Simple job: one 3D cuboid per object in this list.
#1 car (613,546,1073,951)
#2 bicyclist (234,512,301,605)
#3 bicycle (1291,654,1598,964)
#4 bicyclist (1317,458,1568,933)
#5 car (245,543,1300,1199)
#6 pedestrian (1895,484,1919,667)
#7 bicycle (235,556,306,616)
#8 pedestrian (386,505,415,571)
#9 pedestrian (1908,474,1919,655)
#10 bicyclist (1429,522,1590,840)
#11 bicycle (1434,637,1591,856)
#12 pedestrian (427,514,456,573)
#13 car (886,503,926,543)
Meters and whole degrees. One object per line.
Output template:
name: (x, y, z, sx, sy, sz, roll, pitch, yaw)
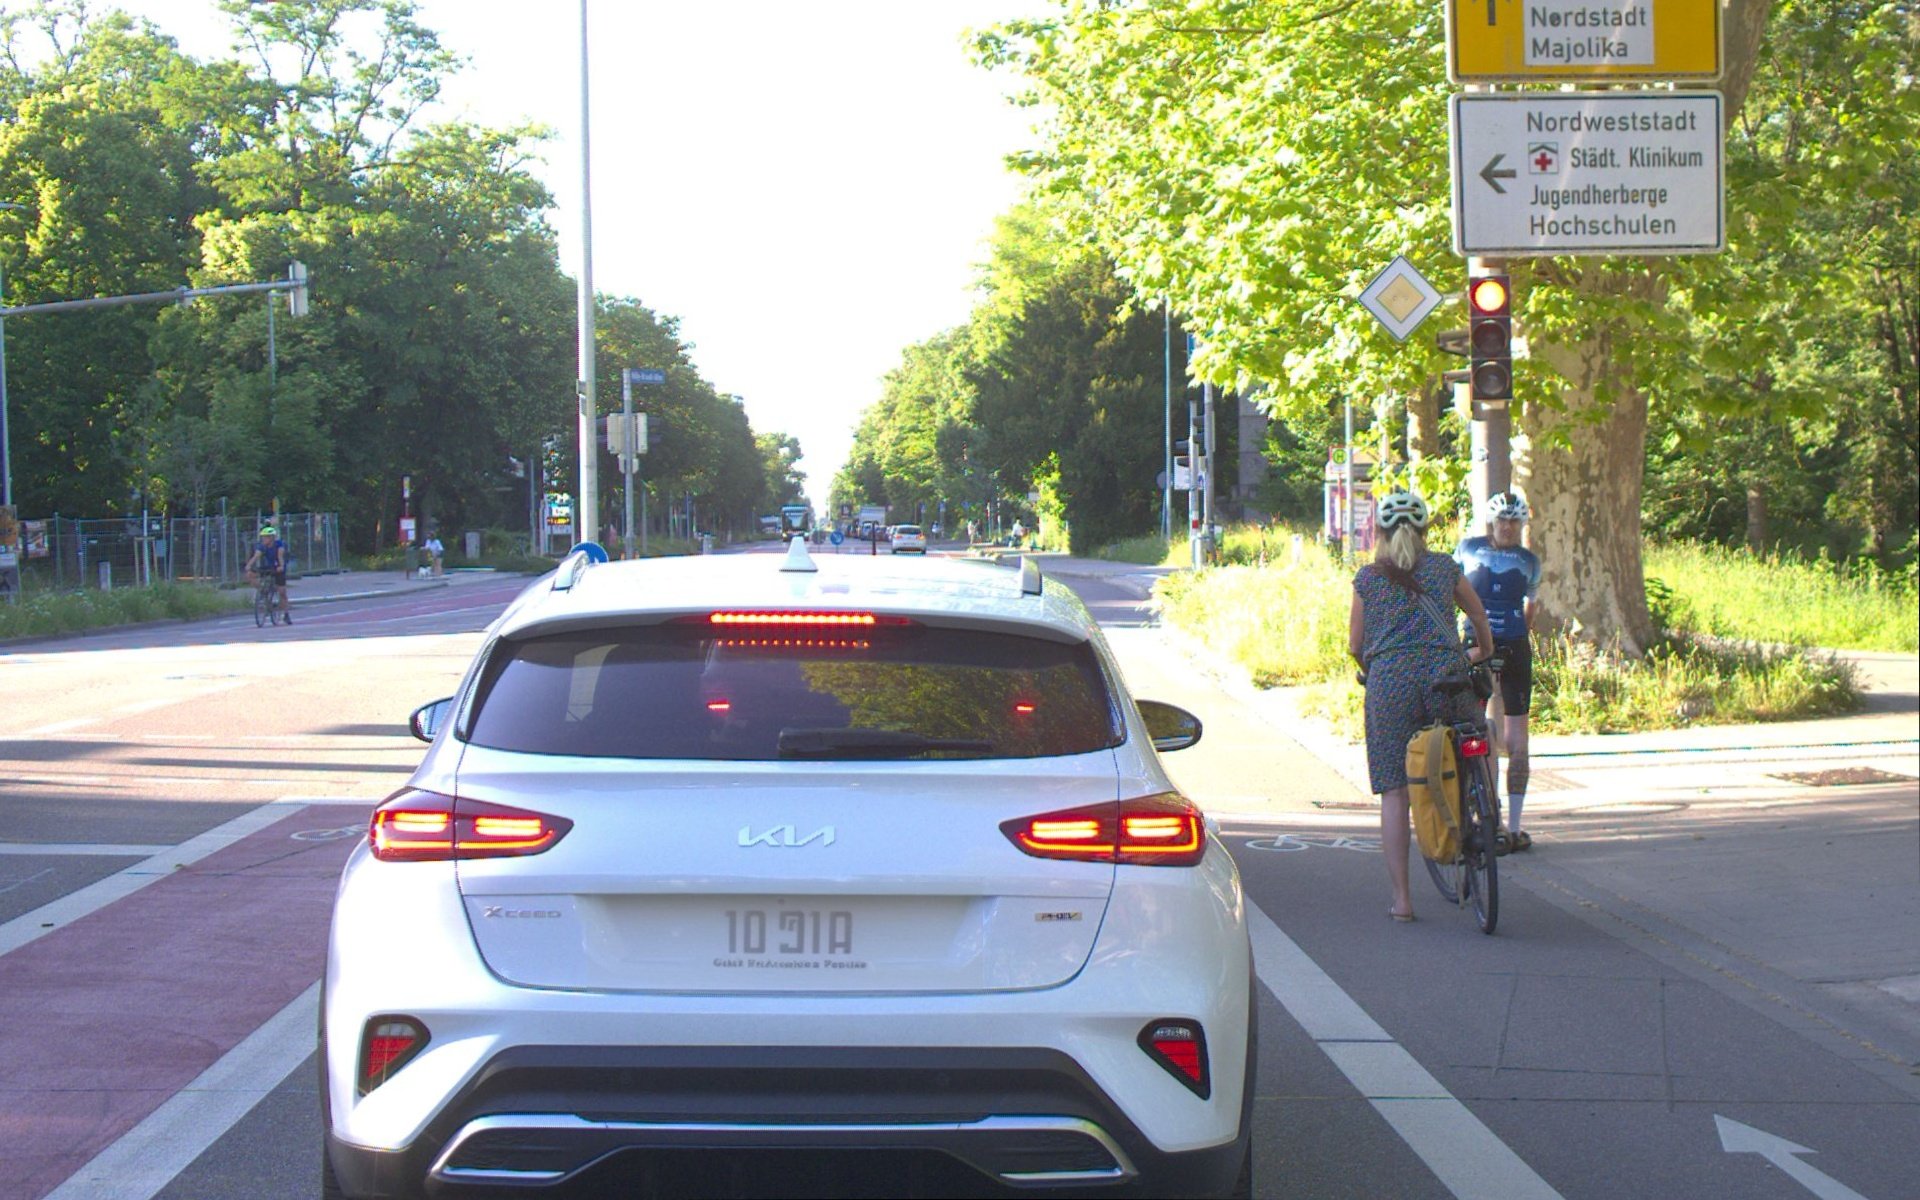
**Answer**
car: (-0.514, 0.540, 14.914, 1.728, 1.478, 3.517, -1, 1, -2)
bicyclist: (-12.224, -0.746, 60.744, 0.875, 1.603, 1.188, -1, 1, 1)
bicycle: (1.879, 0.778, 13.750, 0.758, 1.009, 2.570, 1, 1, -2)
bicyclist: (1.890, 0.349, 13.611, 0.753, 1.789, 1.165, 1, 1, -2)
car: (-0.387, 0.623, 7.928, 1.821, 1.475, 3.937, 0, 1, -2)
pedestrian: (9.200, -0.238, 32.080, 0.689, 1.693, 0.644, -2, 1, -7)
bicycle: (-12.207, -0.256, 60.944, 0.663, 0.985, 2.504, -1, 1, 2)
pedestrian: (-17.078, -1.889, 104.882, 0.641, 2.007, 0.753, 0, 1, 11)
pedestrian: (9.789, -0.356, 33.427, 0.817, 1.765, 0.832, -2, 1, -7)
bicyclist: (2.649, 0.378, 16.616, 0.554, 1.473, 0.717, -4, 1, -2)
bicycle: (2.664, 0.686, 16.685, 0.401, 0.953, 1.551, -4, 1, -2)
pedestrian: (-15.907, -1.735, 105.462, 0.785, 1.779, 0.751, 0, 1, 0)
car: (-2.783, -3.993, 178.450, 1.993, 2.007, 4.000, -2, 1, -1)
